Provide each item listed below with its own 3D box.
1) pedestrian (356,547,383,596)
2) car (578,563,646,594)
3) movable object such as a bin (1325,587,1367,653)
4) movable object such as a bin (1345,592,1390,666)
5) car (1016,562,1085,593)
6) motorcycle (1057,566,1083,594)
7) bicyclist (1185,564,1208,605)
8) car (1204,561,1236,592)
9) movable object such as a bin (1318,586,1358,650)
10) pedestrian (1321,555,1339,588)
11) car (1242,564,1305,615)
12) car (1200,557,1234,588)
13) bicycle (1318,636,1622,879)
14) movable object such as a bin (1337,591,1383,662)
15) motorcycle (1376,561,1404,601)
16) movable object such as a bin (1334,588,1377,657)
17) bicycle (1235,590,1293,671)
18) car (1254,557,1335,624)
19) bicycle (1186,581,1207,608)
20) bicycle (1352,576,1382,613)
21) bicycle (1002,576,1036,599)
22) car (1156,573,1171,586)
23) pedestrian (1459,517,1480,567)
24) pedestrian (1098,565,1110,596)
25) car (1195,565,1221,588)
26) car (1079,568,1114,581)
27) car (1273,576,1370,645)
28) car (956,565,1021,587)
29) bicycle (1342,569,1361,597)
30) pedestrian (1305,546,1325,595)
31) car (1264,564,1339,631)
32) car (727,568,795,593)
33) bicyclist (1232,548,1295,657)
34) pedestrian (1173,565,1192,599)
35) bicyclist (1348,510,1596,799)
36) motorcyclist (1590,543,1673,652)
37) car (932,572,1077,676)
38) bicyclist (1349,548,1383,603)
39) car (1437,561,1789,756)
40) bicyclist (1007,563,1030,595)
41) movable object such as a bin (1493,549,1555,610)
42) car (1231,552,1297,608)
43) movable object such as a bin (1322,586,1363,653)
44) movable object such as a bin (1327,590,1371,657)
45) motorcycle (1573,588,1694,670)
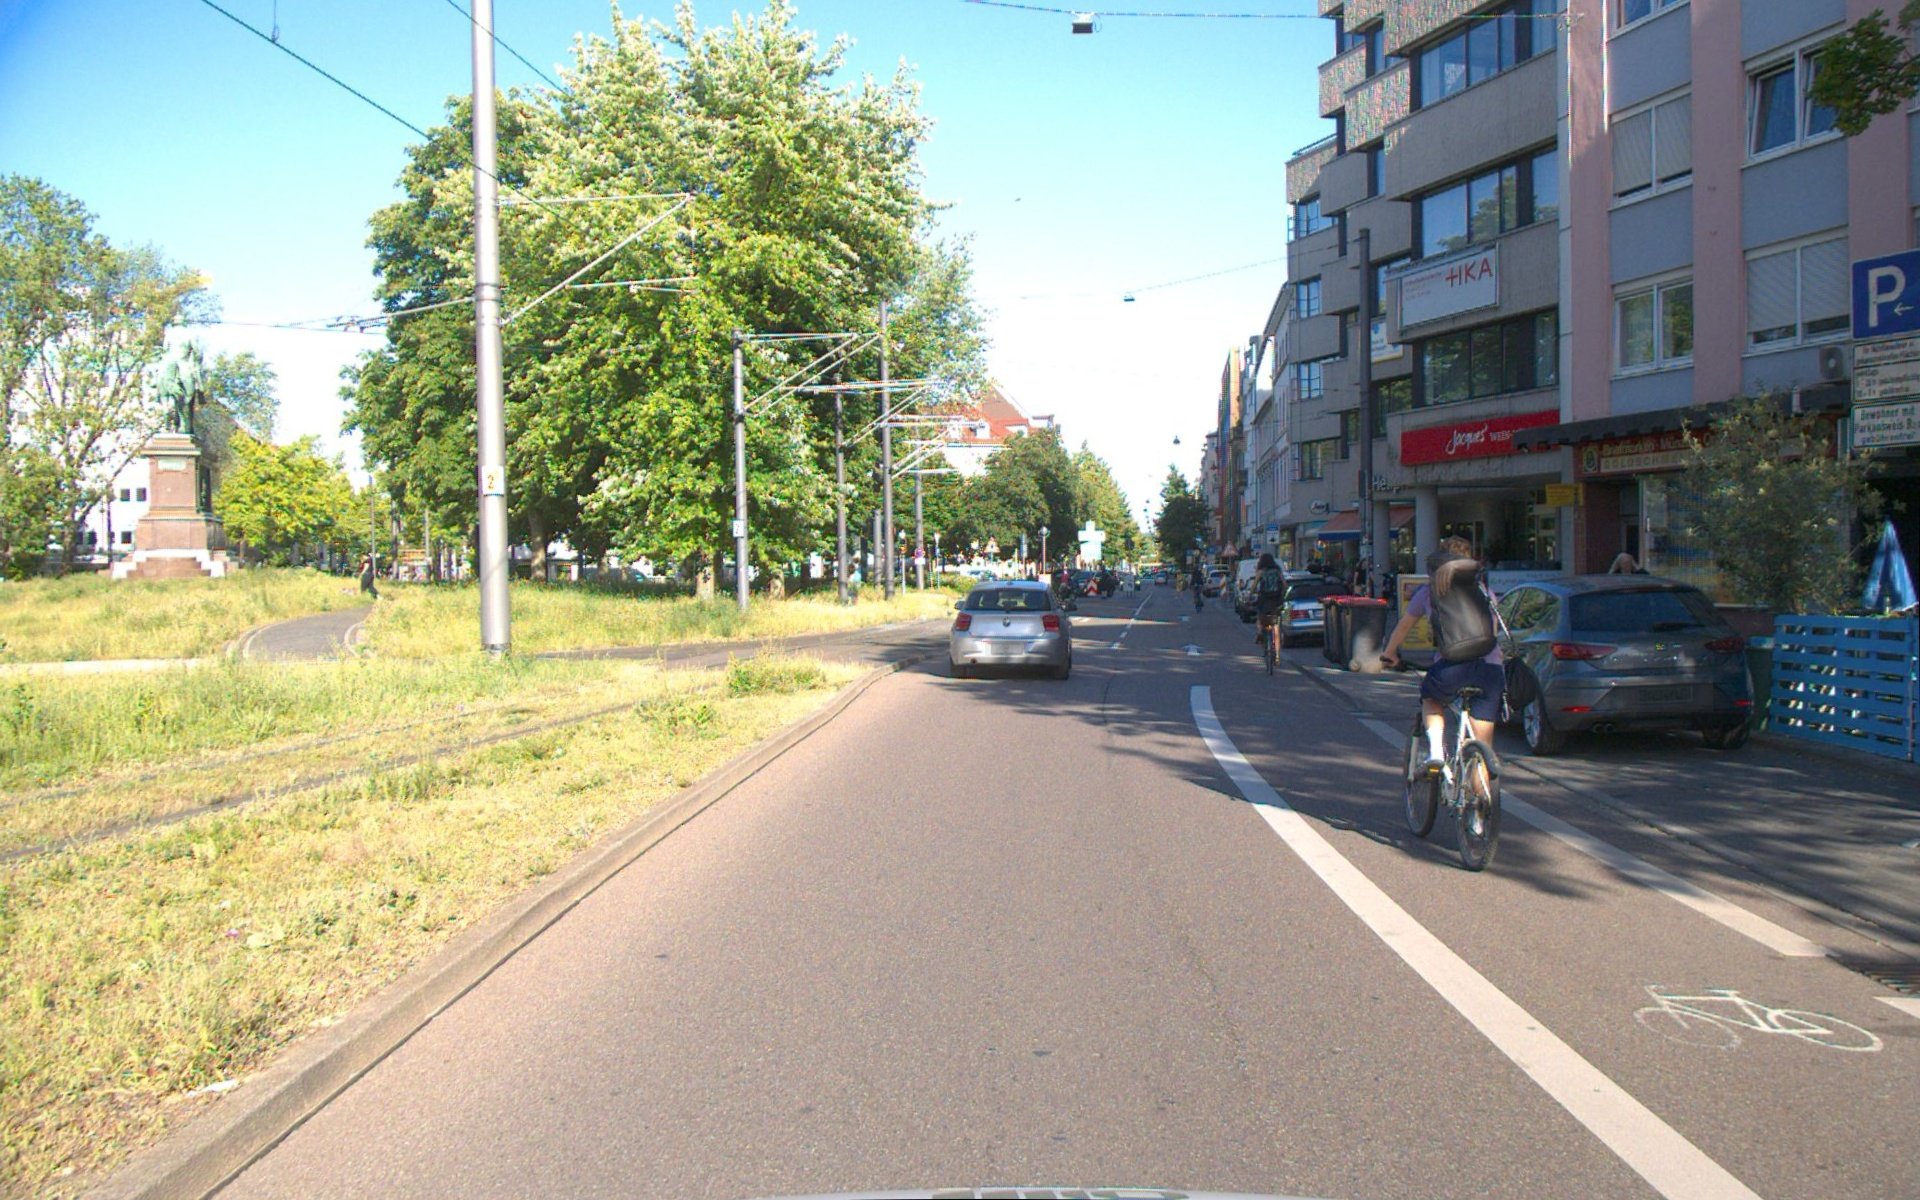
[{"bbox_3d":[-19.826,-0.948,55.512,0.546,1.644,0.670,0,0,45],"label":"pedestrian"},{"bbox_3d":[-27.820,-1.695,132.219,5.250,2.354,1.991,0,0,-16],"label":"car"},{"bbox_3d":[6.445,0.334,27.654,0.592,1.087,0.545,0,0,4],"label":"movable object such as a bin"},{"bbox_3d":[6.188,0.434,25.135,0.561,1.101,0.571,0,0,4],"label":"movable object such as a bin"},{"bbox_3d":[5.244,-1.289,96.029,3.782,1.711,1.810,-1,0,-4],"label":"car"},{"bbox_3d":[5.440,-0.976,82.051,0.733,1.398,1.753,1,0,-16],"label":"motorcycle"},{"bbox_3d":[8.630,-0.562,60.381,0.769,1.478,1.096,0,0,5],"label":"bicyclist"},{"bbox_3d":[15.776,-1.417,100.401,1.708,1.769,4.964,0,0,7],"label":"car"},{"bbox_3d":[6.578,0.303,28.809,0.580,1.102,0.605,0,0,4],"label":"movable object such as a bin"},{"bbox_3d":[14.597,-1.130,65.337,0.616,1.258,0.625,-3,-1,10],"label":"pedestrian"},{"bbox_3d":[9.585,-0.323,50.787,1.736,1.479,4.735,0,0,9],"label":"car"},{"bbox_3d":[17.176,-1.845,110.750,1.951,2.039,5.121,-1,1,6],"label":"car"},{"bbox_3d":[2.793,0.808,9.376,0.868,1.155,2.226,0,0,-5],"label":"bicycle"},{"bbox_3d":[6.239,0.407,25.818,0.606,1.087,0.610,0,0,4],"label":"movable object such as a bin"},{"bbox_3d":[13.568,-0.589,52.149,0.748,1.175,2.049,-3,-1,17],"label":"motorcycle"},{"bbox_3d":[6.305,0.361,26.392,0.578,1.087,0.496,0,0,3],"label":"movable object such as a bin"},{"bbox_3d":[4.740,0.455,25.904,0.802,1.206,1.966,0,0,8],"label":"bicycle"},{"bbox_3d":[8.973,-0.256,44.583,1.812,1.718,3.870,0,0,7],"label":"car"},{"bbox_3d":[8.623,-0.205,60.275,0.638,0.975,2.700,0,0,6],"label":"bicycle"},{"bbox_3d":[10.165,-0.141,41.365,0.523,0.907,2.072,0,0,9],"label":"bicycle"},{"bbox_3d":[2.860,-0.587,80.340,0.798,1.087,2.568,1,0,-20],"label":"bicycle"},{"bbox_3d":[25.743,-2.532,209.015,1.830,1.583,4.003,0,0,8],"label":"car"},{"bbox_3d":[19.084,-2.169,61.980,0.689,1.847,0.716,0,0,22],"label":"pedestrian"},{"bbox_3d":[7.771,-1.046,89.039,0.622,1.701,0.693,0,0,8],"label":"pedestrian"},{"bbox_3d":[18.039,-1.703,120.212,1.682,1.541,3.585,-3,0,7],"label":"car"},{"bbox_3d":[15.869,-2.971,192.152,3.902,1.534,1.896,0,0,8],"label":"car"},{"bbox_3d":[7.719,0.203,35.640,1.811,1.367,4.603,0,0,9],"label":"car"},{"bbox_3d":[2.411,-2.071,142.235,5.185,1.831,2.151,0,0,-20],"label":"car"},{"bbox_3d":[14.970,-0.658,63.310,0.551,1.052,1.646,0,0,8],"label":"bicycle"},{"bbox_3d":[14.022,-1.148,65.389,0.656,1.888,0.611,-3,-1,10],"label":"pedestrian"},{"bbox_3d":[8.317,-0.059,40.517,1.635,1.545,4.203,0,0,9],"label":"car"},{"bbox_3d":[-16.959,-1.643,141.081,5.492,2.049,1.807,0,0,-20],"label":"car"},{"bbox_3d":[4.730,0.031,25.849,0.919,1.662,0.936,0,0,8],"label":"bicyclist"},{"bbox_3d":[11.560,-0.936,85.991,0.659,1.729,0.799,0,0,-24],"label":"pedestrian"},{"bbox_3d":[2.816,0.288,9.200,1.017,1.510,0.987,0,0,-5],"label":"bicyclist"},{"bbox_3d":[9.863,-0.038,24.313,0.879,1.578,0.806,0,0,-3],"label":"motorcyclist"},{"bbox_3d":[0.770,0.338,25.471,1.951,1.448,4.199,0,0,5],"label":"car"},{"bbox_3d":[10.159,-0.602,41.391,0.742,1.349,0.995,0,0,9],"label":"bicyclist"},{"bbox_3d":[5.730,0.406,15.148,1.728,1.463,4.586,-2,1,5],"label":"car"},{"bbox_3d":[2.841,-0.996,80.380,0.915,1.534,0.820,1,0,-20],"label":"bicyclist"},{"bbox_3d":[13.449,-0.478,39.454,1.307,1.422,1.122,0,0,15],"label":"movable object such as a bin"},{"bbox_3d":[10.486,-0.678,57.245,1.951,1.844,4.313,0,0,7],"label":"car"},{"bbox_3d":[6.527,0.329,28.217,0.597,1.125,0.526,0,0,4],"label":"movable object such as a bin"},{"bbox_3d":[6.337,0.379,26.979,0.593,1.087,0.613,0,0,3],"label":"movable object such as a bin"},{"bbox_3d":[9.878,0.411,24.359,0.760,1.146,2.296,0,0,-2],"label":"motorcycle"}]
